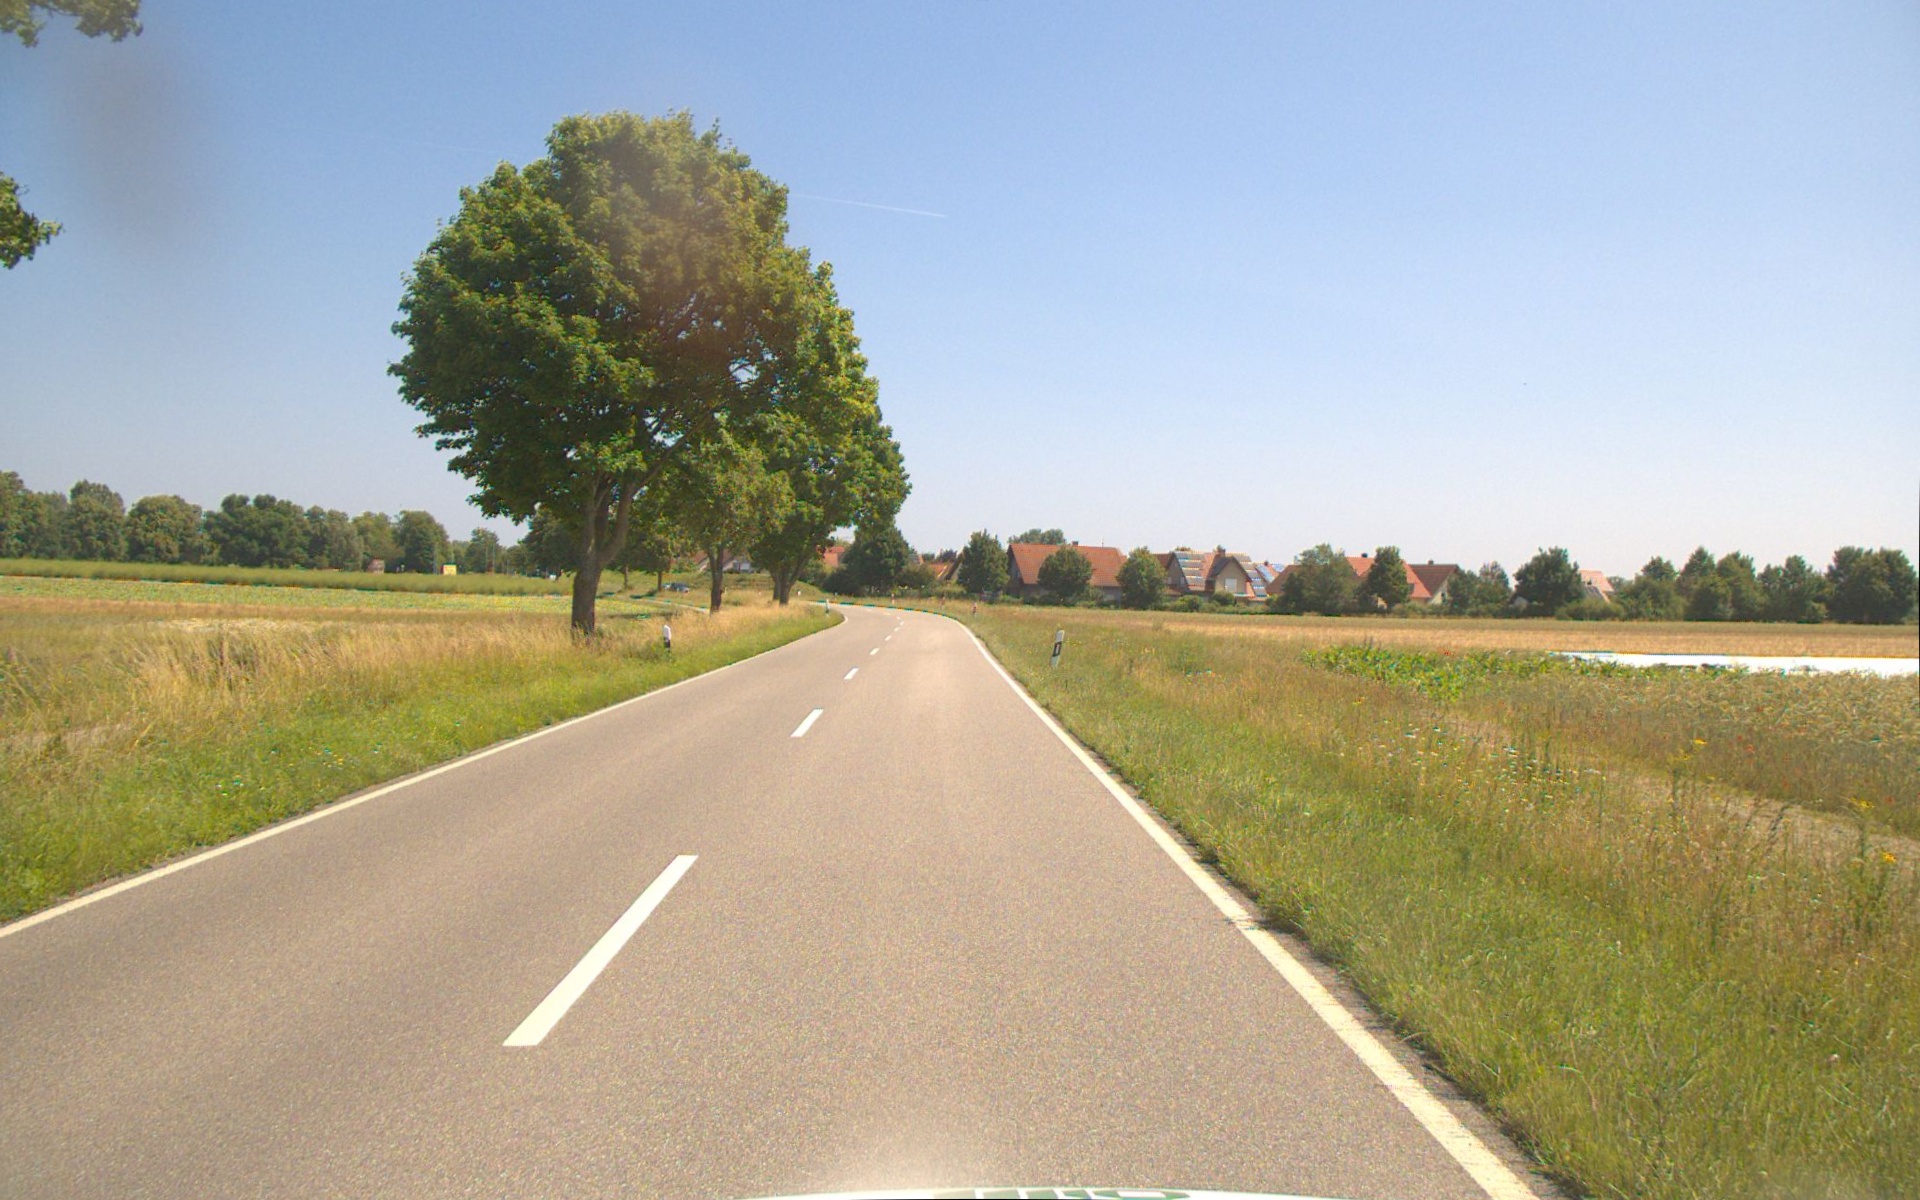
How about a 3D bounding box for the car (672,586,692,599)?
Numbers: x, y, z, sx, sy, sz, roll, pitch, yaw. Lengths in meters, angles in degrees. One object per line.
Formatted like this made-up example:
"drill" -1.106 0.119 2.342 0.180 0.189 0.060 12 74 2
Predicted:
"car" -33.149 -0.898 197.189 1.620 1.454 4.155 -2 1 -20
